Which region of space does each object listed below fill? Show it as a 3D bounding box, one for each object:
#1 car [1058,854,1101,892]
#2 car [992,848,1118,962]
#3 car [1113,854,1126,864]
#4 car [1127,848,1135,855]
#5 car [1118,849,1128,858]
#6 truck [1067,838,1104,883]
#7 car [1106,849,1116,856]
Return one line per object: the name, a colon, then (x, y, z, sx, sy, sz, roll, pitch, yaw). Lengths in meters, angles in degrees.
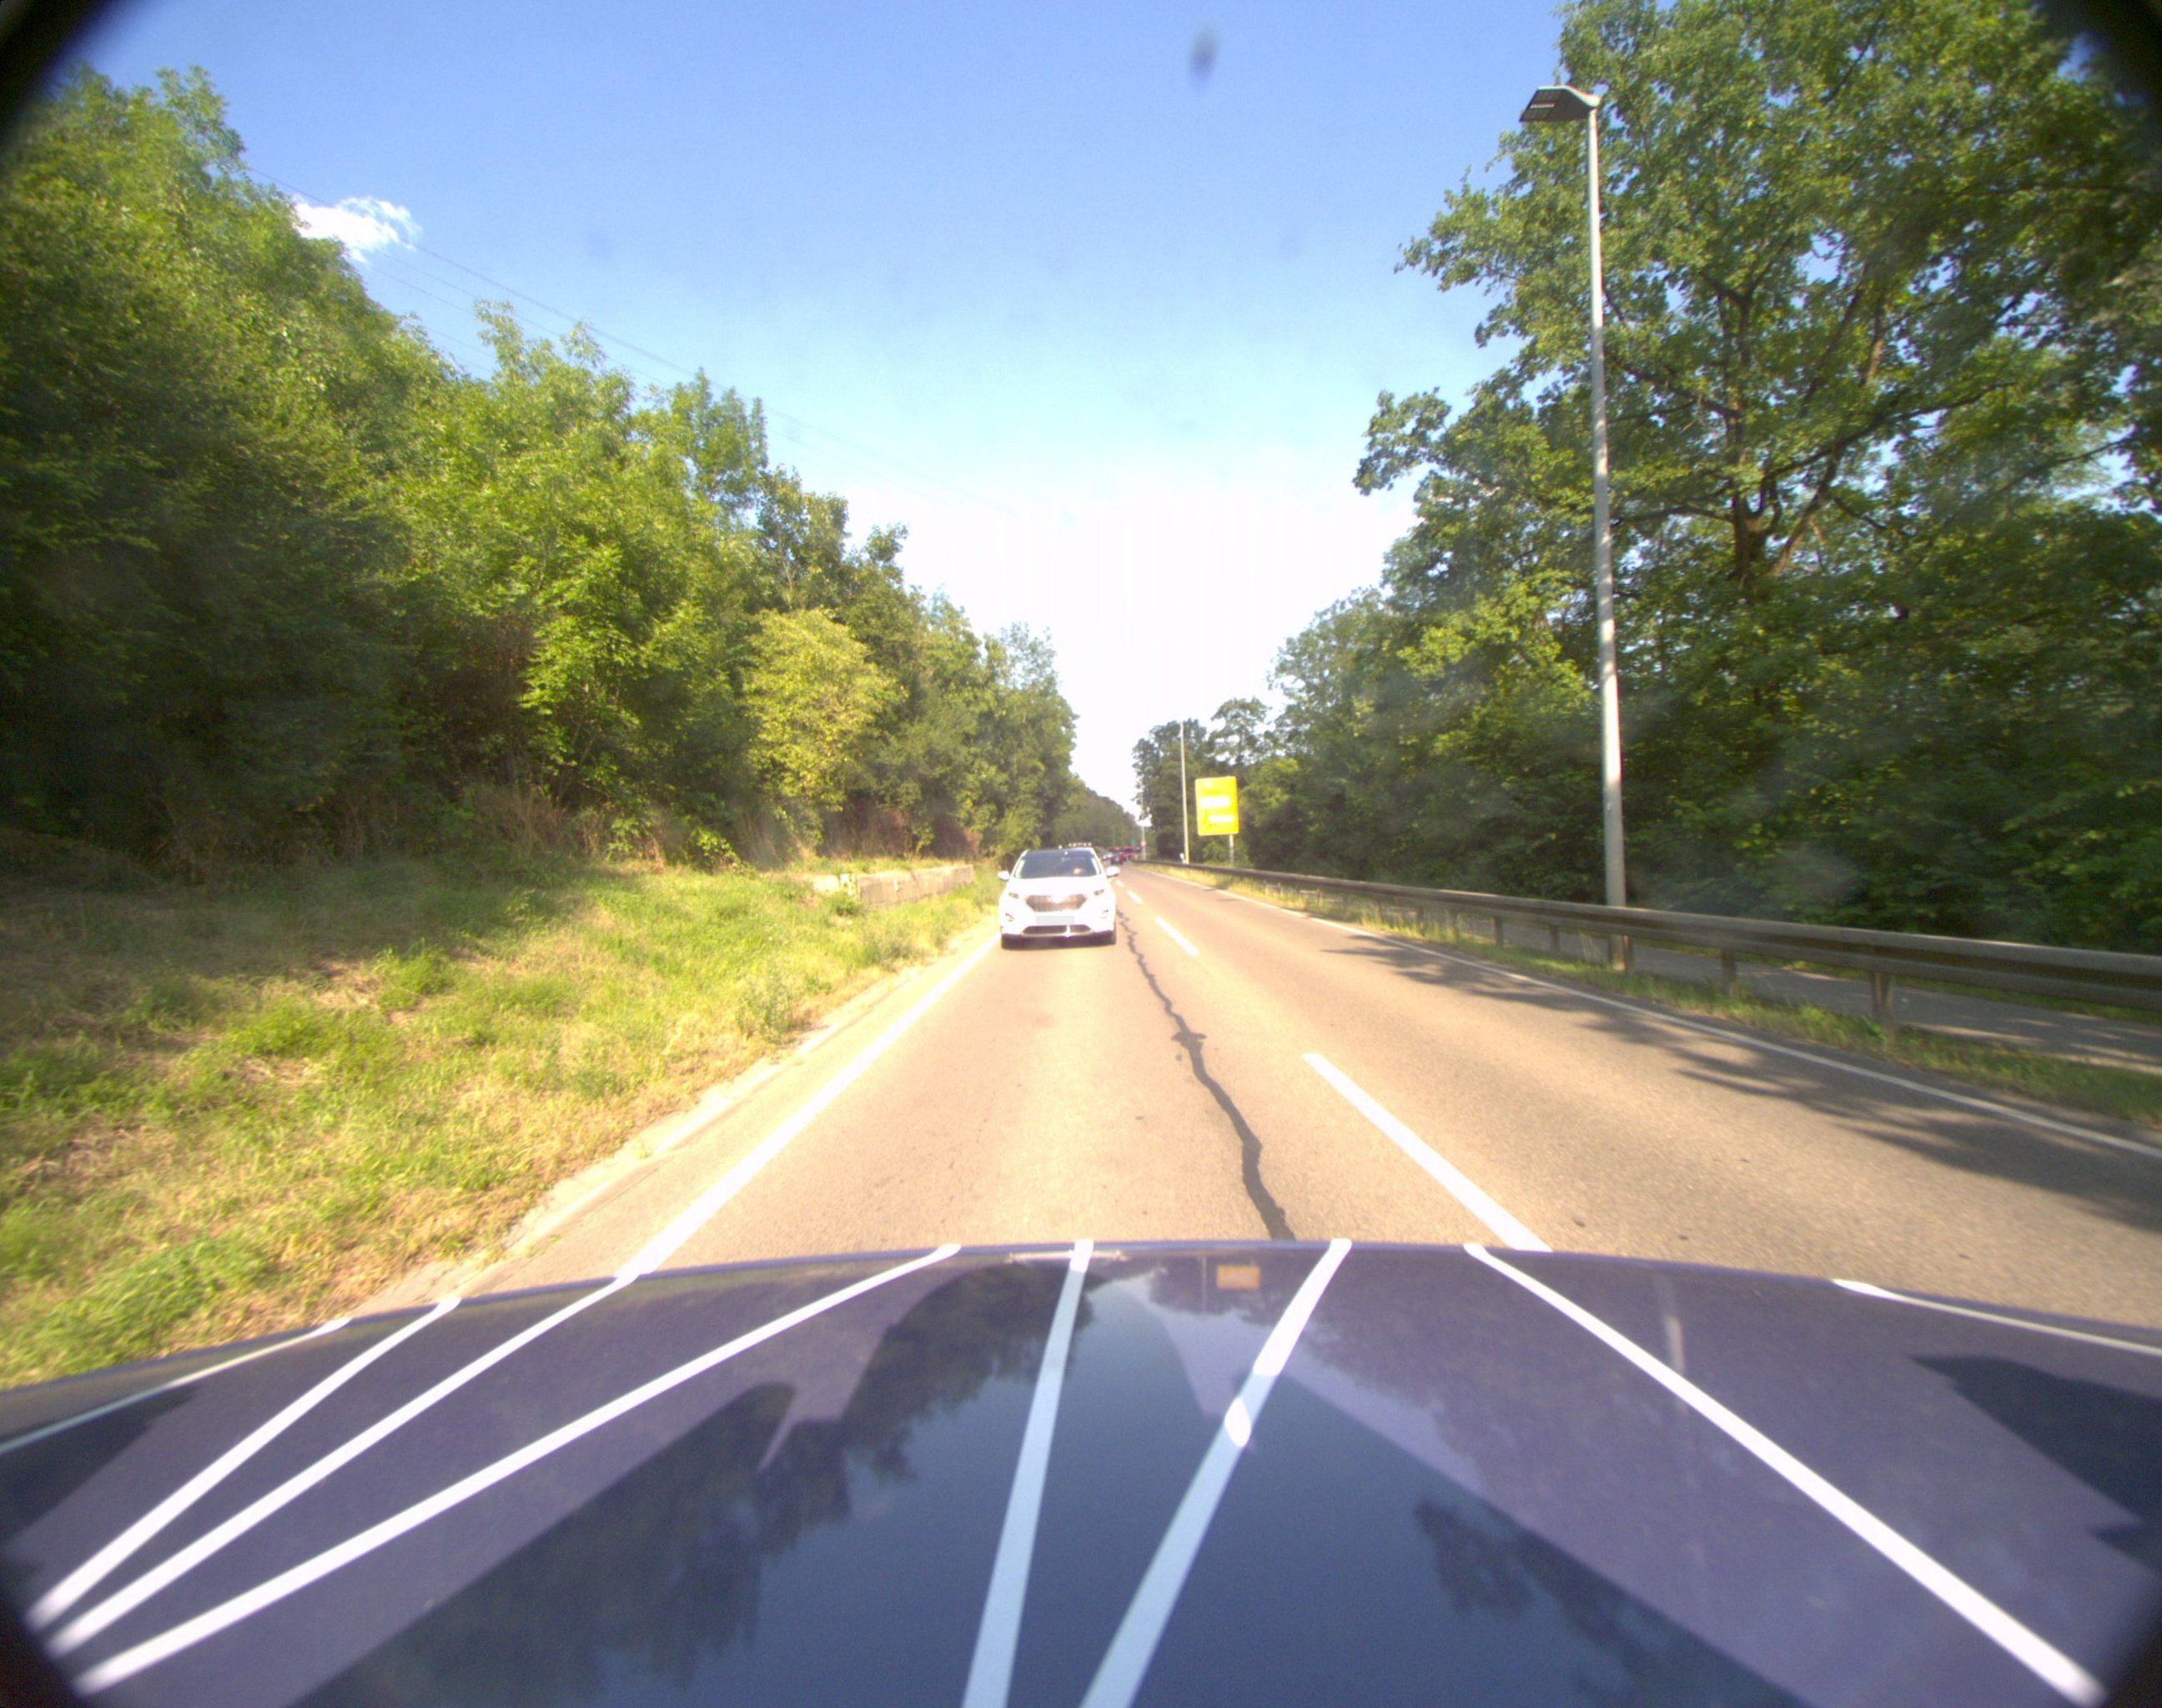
car: (-0.044, 0.761, 33.305, 1.704, 1.477, 4.136, -2, 0, 1)
car: (-0.372, 0.782, 13.822, 1.894, 1.691, 4.136, -2, 0, 1)
car: (5.510, 0.692, 108.549, 1.695, 1.412, 4.142, -1, 1, 2)
car: (11.180, -0.592, 169.770, 1.685, 1.434, 4.001, -2, 1, 8)
car: (8.058, -0.160, 145.469, 1.752, 1.707, 4.221, -1, 0, 3)
truck: (0.274, 0.327, 42.901, 1.894, 2.334, 5.273, -2, 0, 1)
car: (7.177, -0.297, 183.439, 1.997, 1.647, 4.002, -1, 0, 8)
